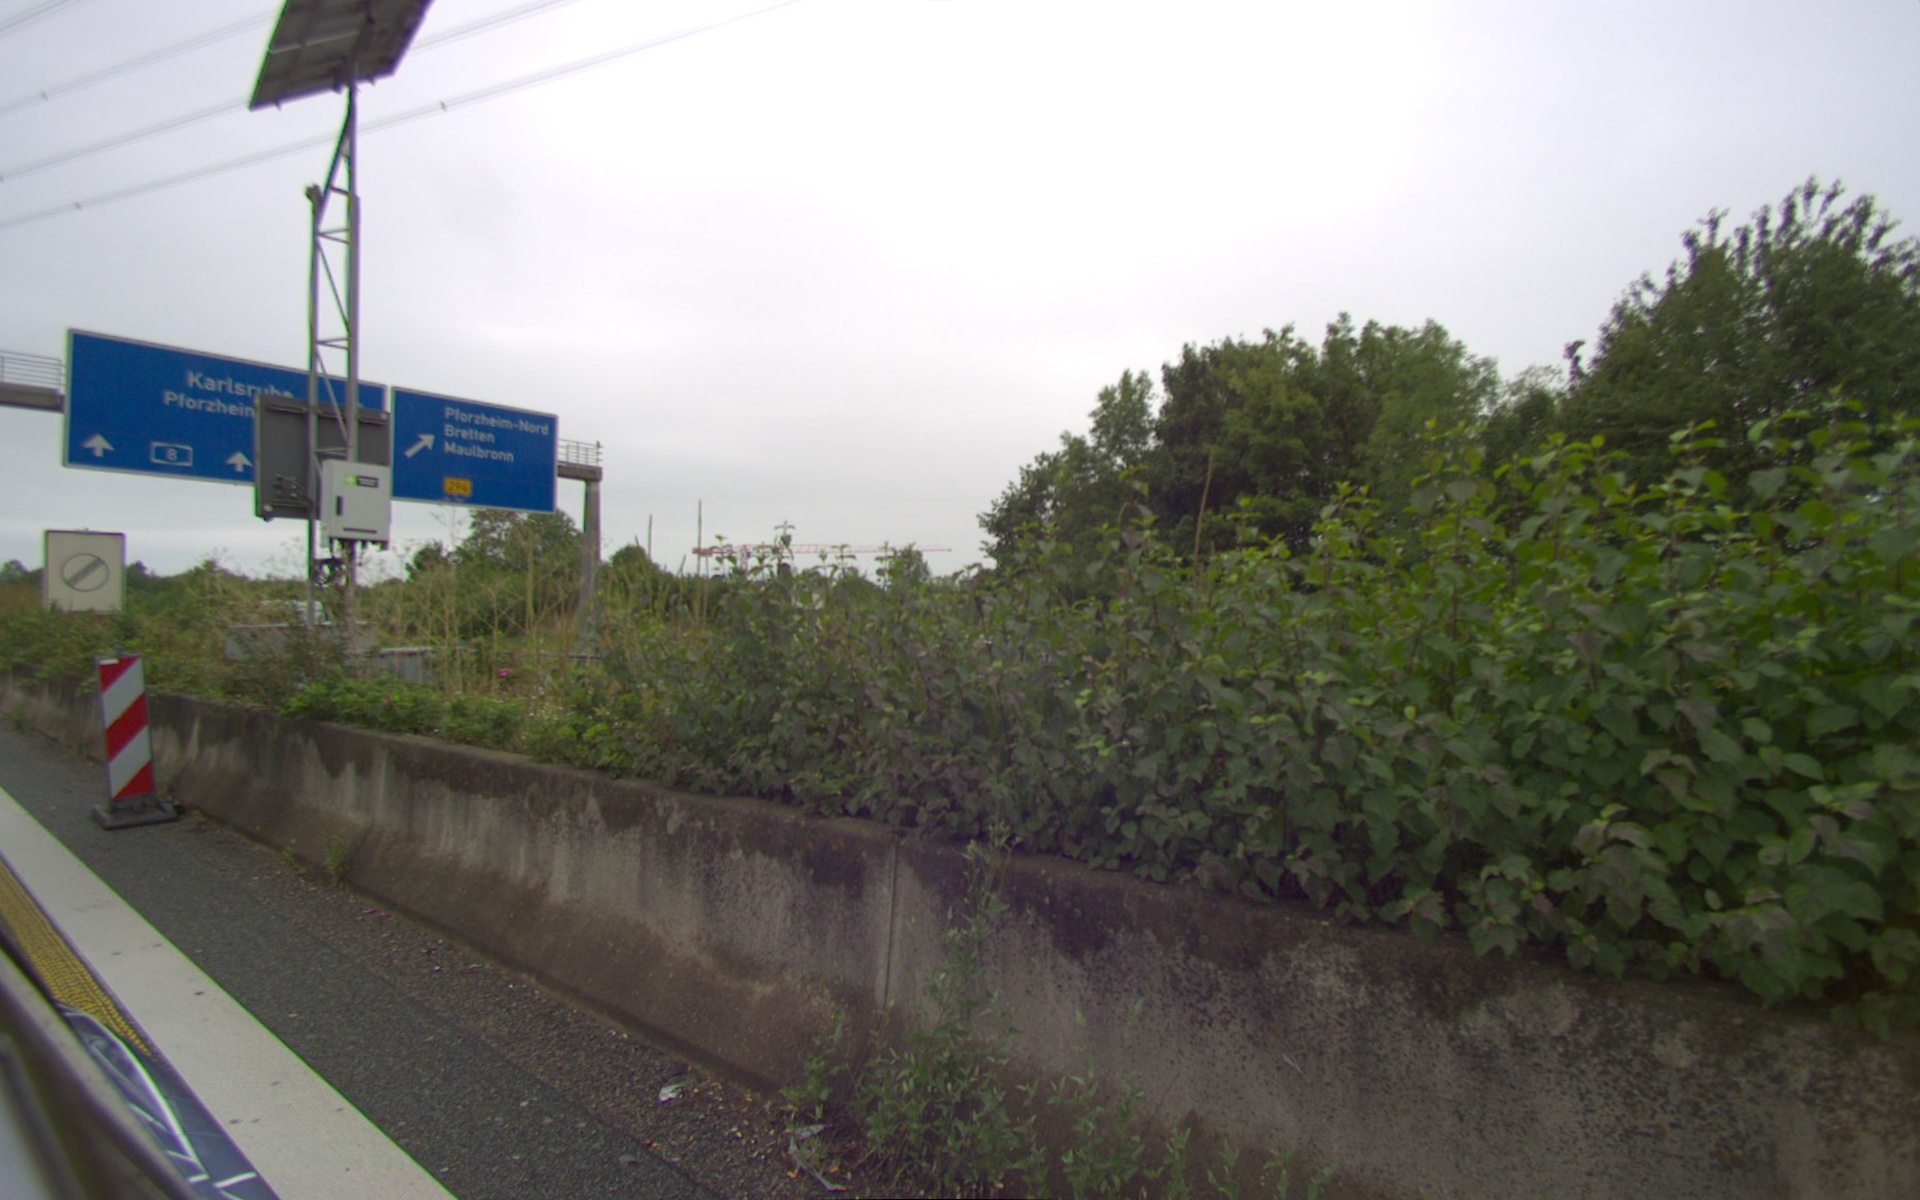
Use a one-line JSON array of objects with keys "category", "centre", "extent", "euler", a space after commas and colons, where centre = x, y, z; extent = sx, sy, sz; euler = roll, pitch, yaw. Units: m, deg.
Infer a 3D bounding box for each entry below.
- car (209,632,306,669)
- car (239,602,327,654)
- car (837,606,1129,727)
[{"category": "car", "centre": [-25.322, 1.798, 36.462], "extent": [3.998, 1.200, 1.973], "euler": [-1, -1, 41]}, {"category": "car", "centre": [-31.488, 1.262, 47.008], "extent": [5.201, 2.282, 2.157], "euler": [-1, -1, 41]}, {"category": "car", "centre": [0.253, 0.888, 14.953], "extent": [3.998, 1.539, 1.973], "euler": [-1, -1, 41]}]
